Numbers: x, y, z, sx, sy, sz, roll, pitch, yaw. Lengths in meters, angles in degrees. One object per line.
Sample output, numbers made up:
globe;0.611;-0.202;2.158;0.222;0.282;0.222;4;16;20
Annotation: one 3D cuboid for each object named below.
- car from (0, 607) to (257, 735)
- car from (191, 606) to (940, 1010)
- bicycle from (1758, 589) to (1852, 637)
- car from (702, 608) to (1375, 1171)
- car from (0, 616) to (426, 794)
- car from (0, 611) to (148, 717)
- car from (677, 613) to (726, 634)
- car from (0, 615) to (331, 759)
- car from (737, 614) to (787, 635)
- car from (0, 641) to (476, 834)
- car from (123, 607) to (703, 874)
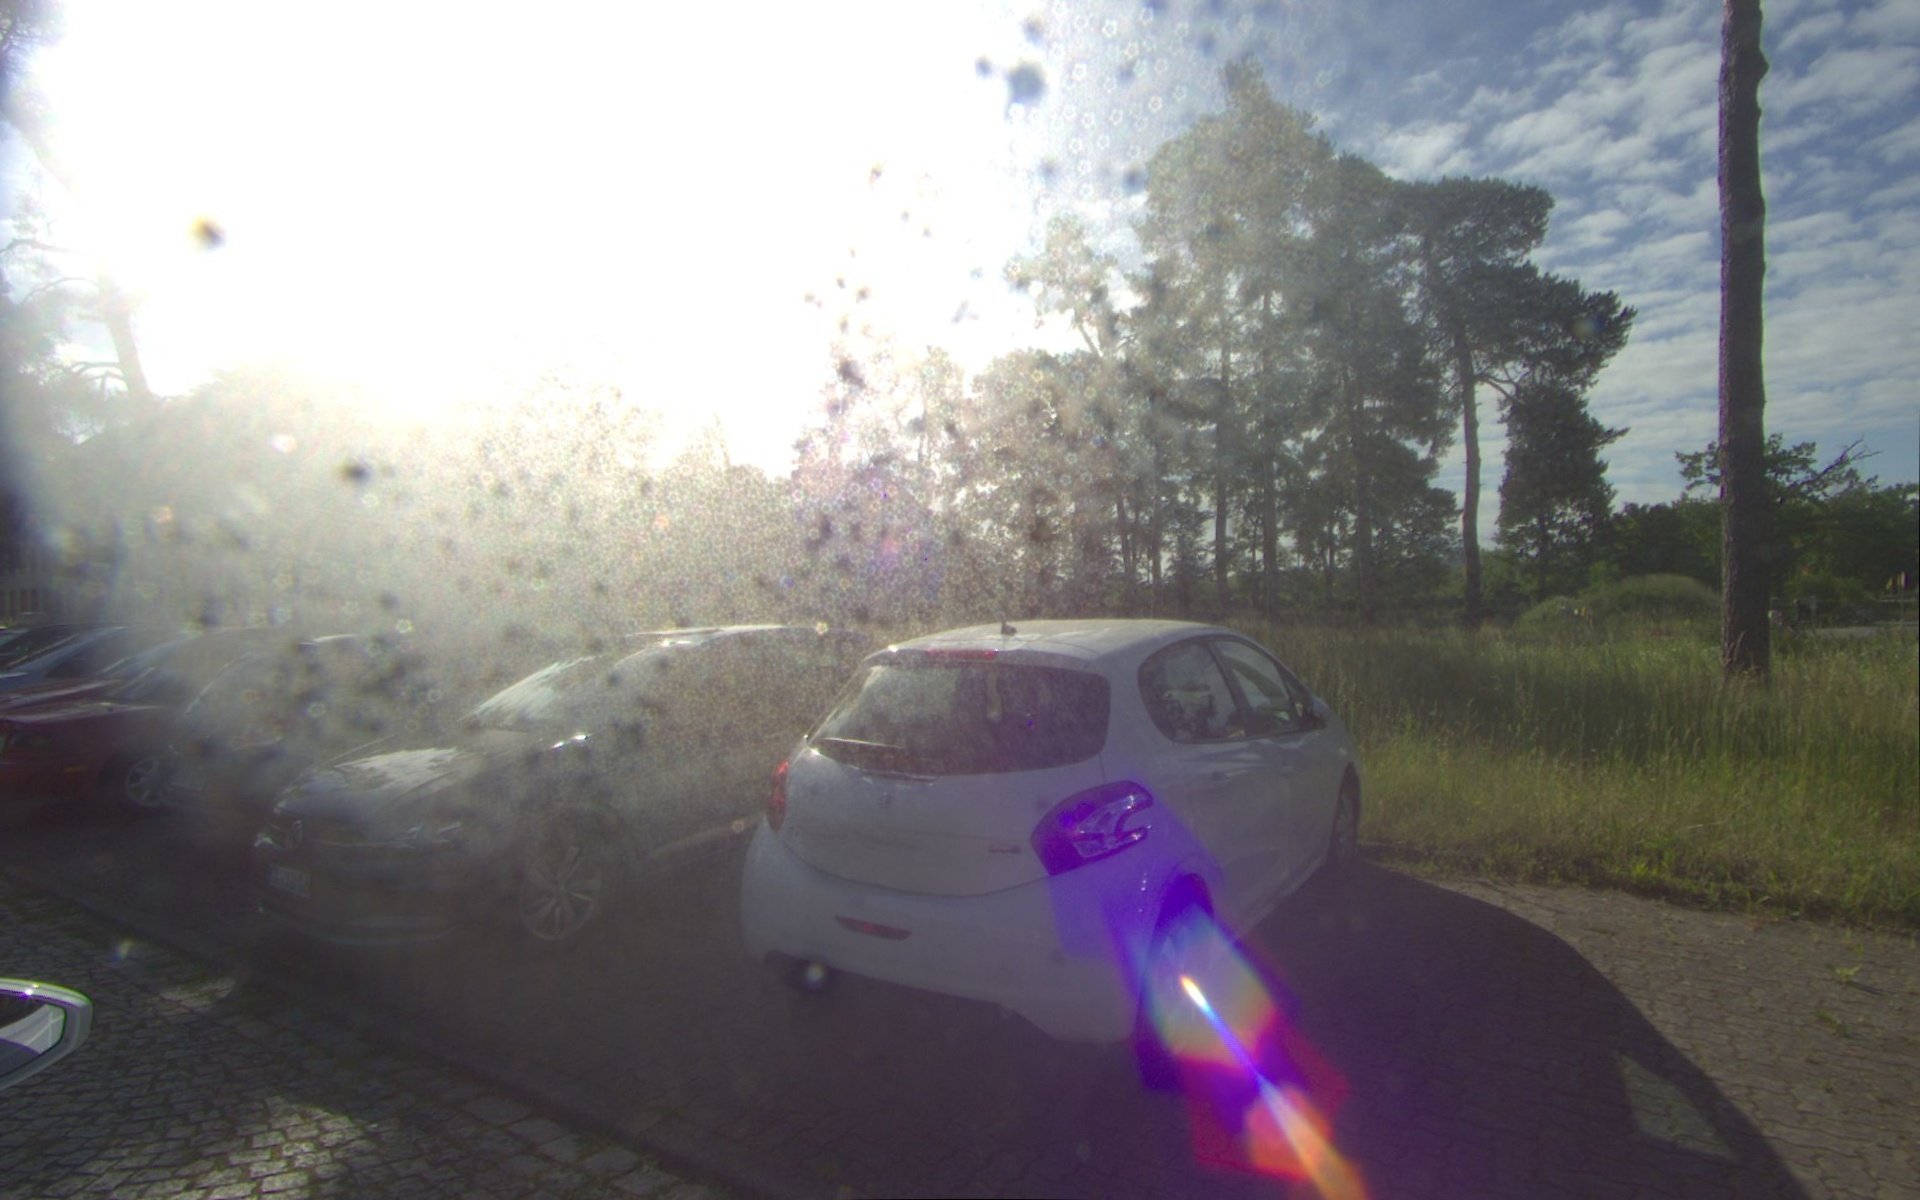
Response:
car;-12.336;0.918;13.224;1.842;1.475;4.610;0;2;30
car;-1.908;0.816;5.878;1.733;1.470;3.770;0;1;34
bicycle;38.240;0.609;45.393;3.087;2.039;0.949;-3;-1;32
car;0.733;0.804;4.683;1.611;1.511;3.636;0;0;33
car;-8.079;0.949;10.622;1.632;1.468;3.971;0;0;32
car;-14.426;0.952;14.598;1.642;1.462;3.664;0;1;32
car;-21.067;1.886;81.839;1.743;1.693;3.625;-1;-1;35
car;-10.154;0.939;11.721;1.763;1.407;4.390;0;1;31
car;-15.249;1.863;77.159;1.743;1.517;3.625;-1;-1;35
car;-6.374;1.042;8.914;1.515;1.258;3.453;0;-1;33
car;-3.984;0.848;7.887;1.643;1.474;3.654;0;1;32
